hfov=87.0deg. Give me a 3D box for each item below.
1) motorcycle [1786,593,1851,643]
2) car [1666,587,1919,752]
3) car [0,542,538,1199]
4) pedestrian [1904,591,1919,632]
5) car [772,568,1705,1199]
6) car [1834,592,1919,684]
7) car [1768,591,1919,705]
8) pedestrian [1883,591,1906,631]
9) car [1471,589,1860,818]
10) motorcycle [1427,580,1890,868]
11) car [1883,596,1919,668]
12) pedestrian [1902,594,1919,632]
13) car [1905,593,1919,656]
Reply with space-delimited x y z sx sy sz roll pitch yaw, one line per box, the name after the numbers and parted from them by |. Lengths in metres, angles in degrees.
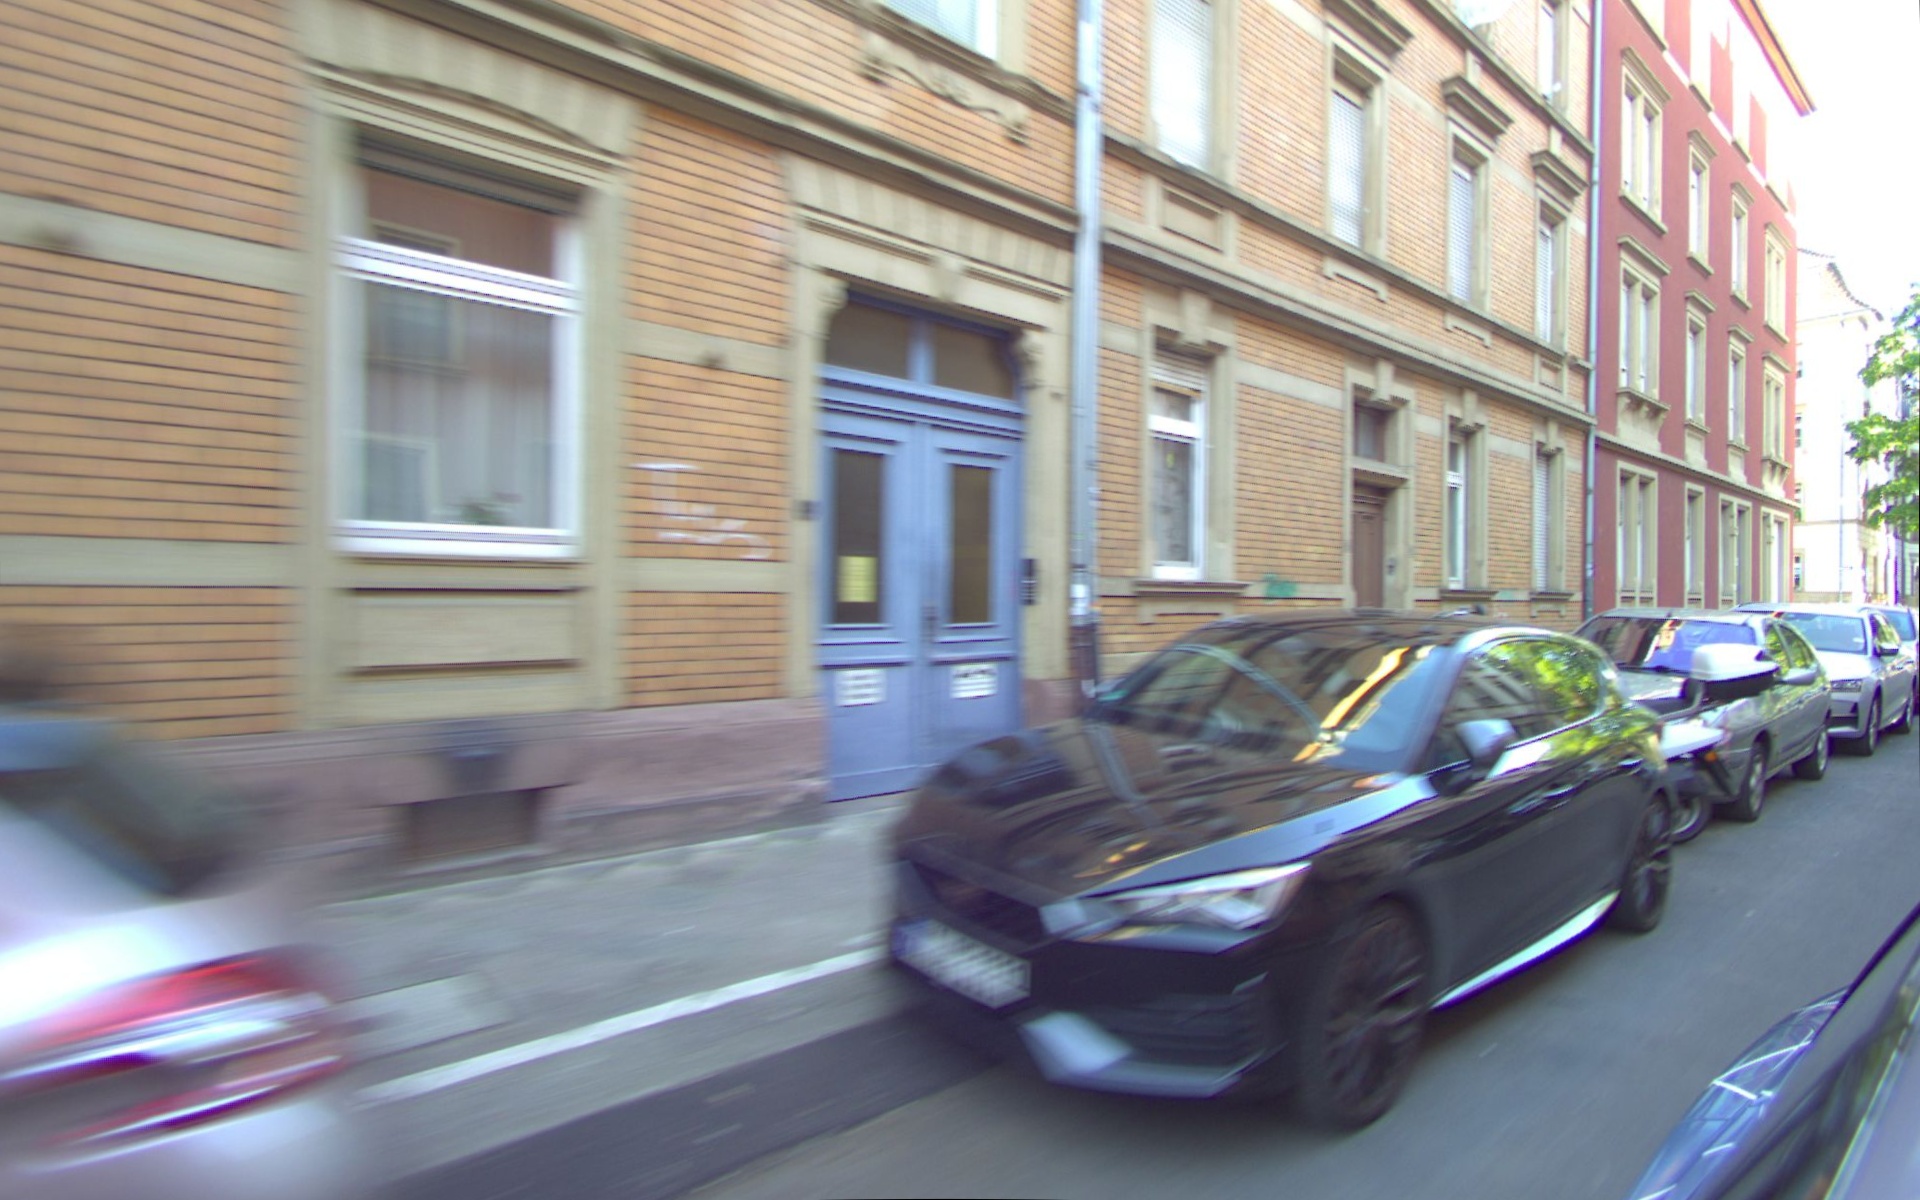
28.011 0.593 33.003 2.571 1.544 0.875 1 0 -33 | motorcycle
9.709 0.648 11.473 4.323 1.502 1.765 0 1 -41 | car
-2.697 0.660 0.760 4.024 1.434 1.729 0 5 -43 | car
40.547 0.477 43.040 0.508 1.740 0.519 1 0 -43 | pedestrian
1.516 0.631 4.321 4.241 1.414 1.781 1 1 -41 | car
17.312 0.647 18.315 3.997 1.522 1.680 1 1 -41 | car
13.763 0.644 15.480 3.957 1.498 1.660 0 1 -43 | car
40.169 0.468 43.501 0.804 1.706 0.624 1 0 -42 | pedestrian
5.935 0.655 8.343 3.922 1.424 1.695 0 1 -41 | car
4.166 0.689 6.326 2.201 1.556 0.883 -1 -1 24 | motorcycle
21.528 0.682 22.036 3.901 1.481 1.708 0 1 -41 | car
47.713 0.645 50.822 0.694 1.868 0.529 1 0 -40 | pedestrian
24.764 0.607 25.088 3.643 1.501 1.671 0 1 -42 | car
